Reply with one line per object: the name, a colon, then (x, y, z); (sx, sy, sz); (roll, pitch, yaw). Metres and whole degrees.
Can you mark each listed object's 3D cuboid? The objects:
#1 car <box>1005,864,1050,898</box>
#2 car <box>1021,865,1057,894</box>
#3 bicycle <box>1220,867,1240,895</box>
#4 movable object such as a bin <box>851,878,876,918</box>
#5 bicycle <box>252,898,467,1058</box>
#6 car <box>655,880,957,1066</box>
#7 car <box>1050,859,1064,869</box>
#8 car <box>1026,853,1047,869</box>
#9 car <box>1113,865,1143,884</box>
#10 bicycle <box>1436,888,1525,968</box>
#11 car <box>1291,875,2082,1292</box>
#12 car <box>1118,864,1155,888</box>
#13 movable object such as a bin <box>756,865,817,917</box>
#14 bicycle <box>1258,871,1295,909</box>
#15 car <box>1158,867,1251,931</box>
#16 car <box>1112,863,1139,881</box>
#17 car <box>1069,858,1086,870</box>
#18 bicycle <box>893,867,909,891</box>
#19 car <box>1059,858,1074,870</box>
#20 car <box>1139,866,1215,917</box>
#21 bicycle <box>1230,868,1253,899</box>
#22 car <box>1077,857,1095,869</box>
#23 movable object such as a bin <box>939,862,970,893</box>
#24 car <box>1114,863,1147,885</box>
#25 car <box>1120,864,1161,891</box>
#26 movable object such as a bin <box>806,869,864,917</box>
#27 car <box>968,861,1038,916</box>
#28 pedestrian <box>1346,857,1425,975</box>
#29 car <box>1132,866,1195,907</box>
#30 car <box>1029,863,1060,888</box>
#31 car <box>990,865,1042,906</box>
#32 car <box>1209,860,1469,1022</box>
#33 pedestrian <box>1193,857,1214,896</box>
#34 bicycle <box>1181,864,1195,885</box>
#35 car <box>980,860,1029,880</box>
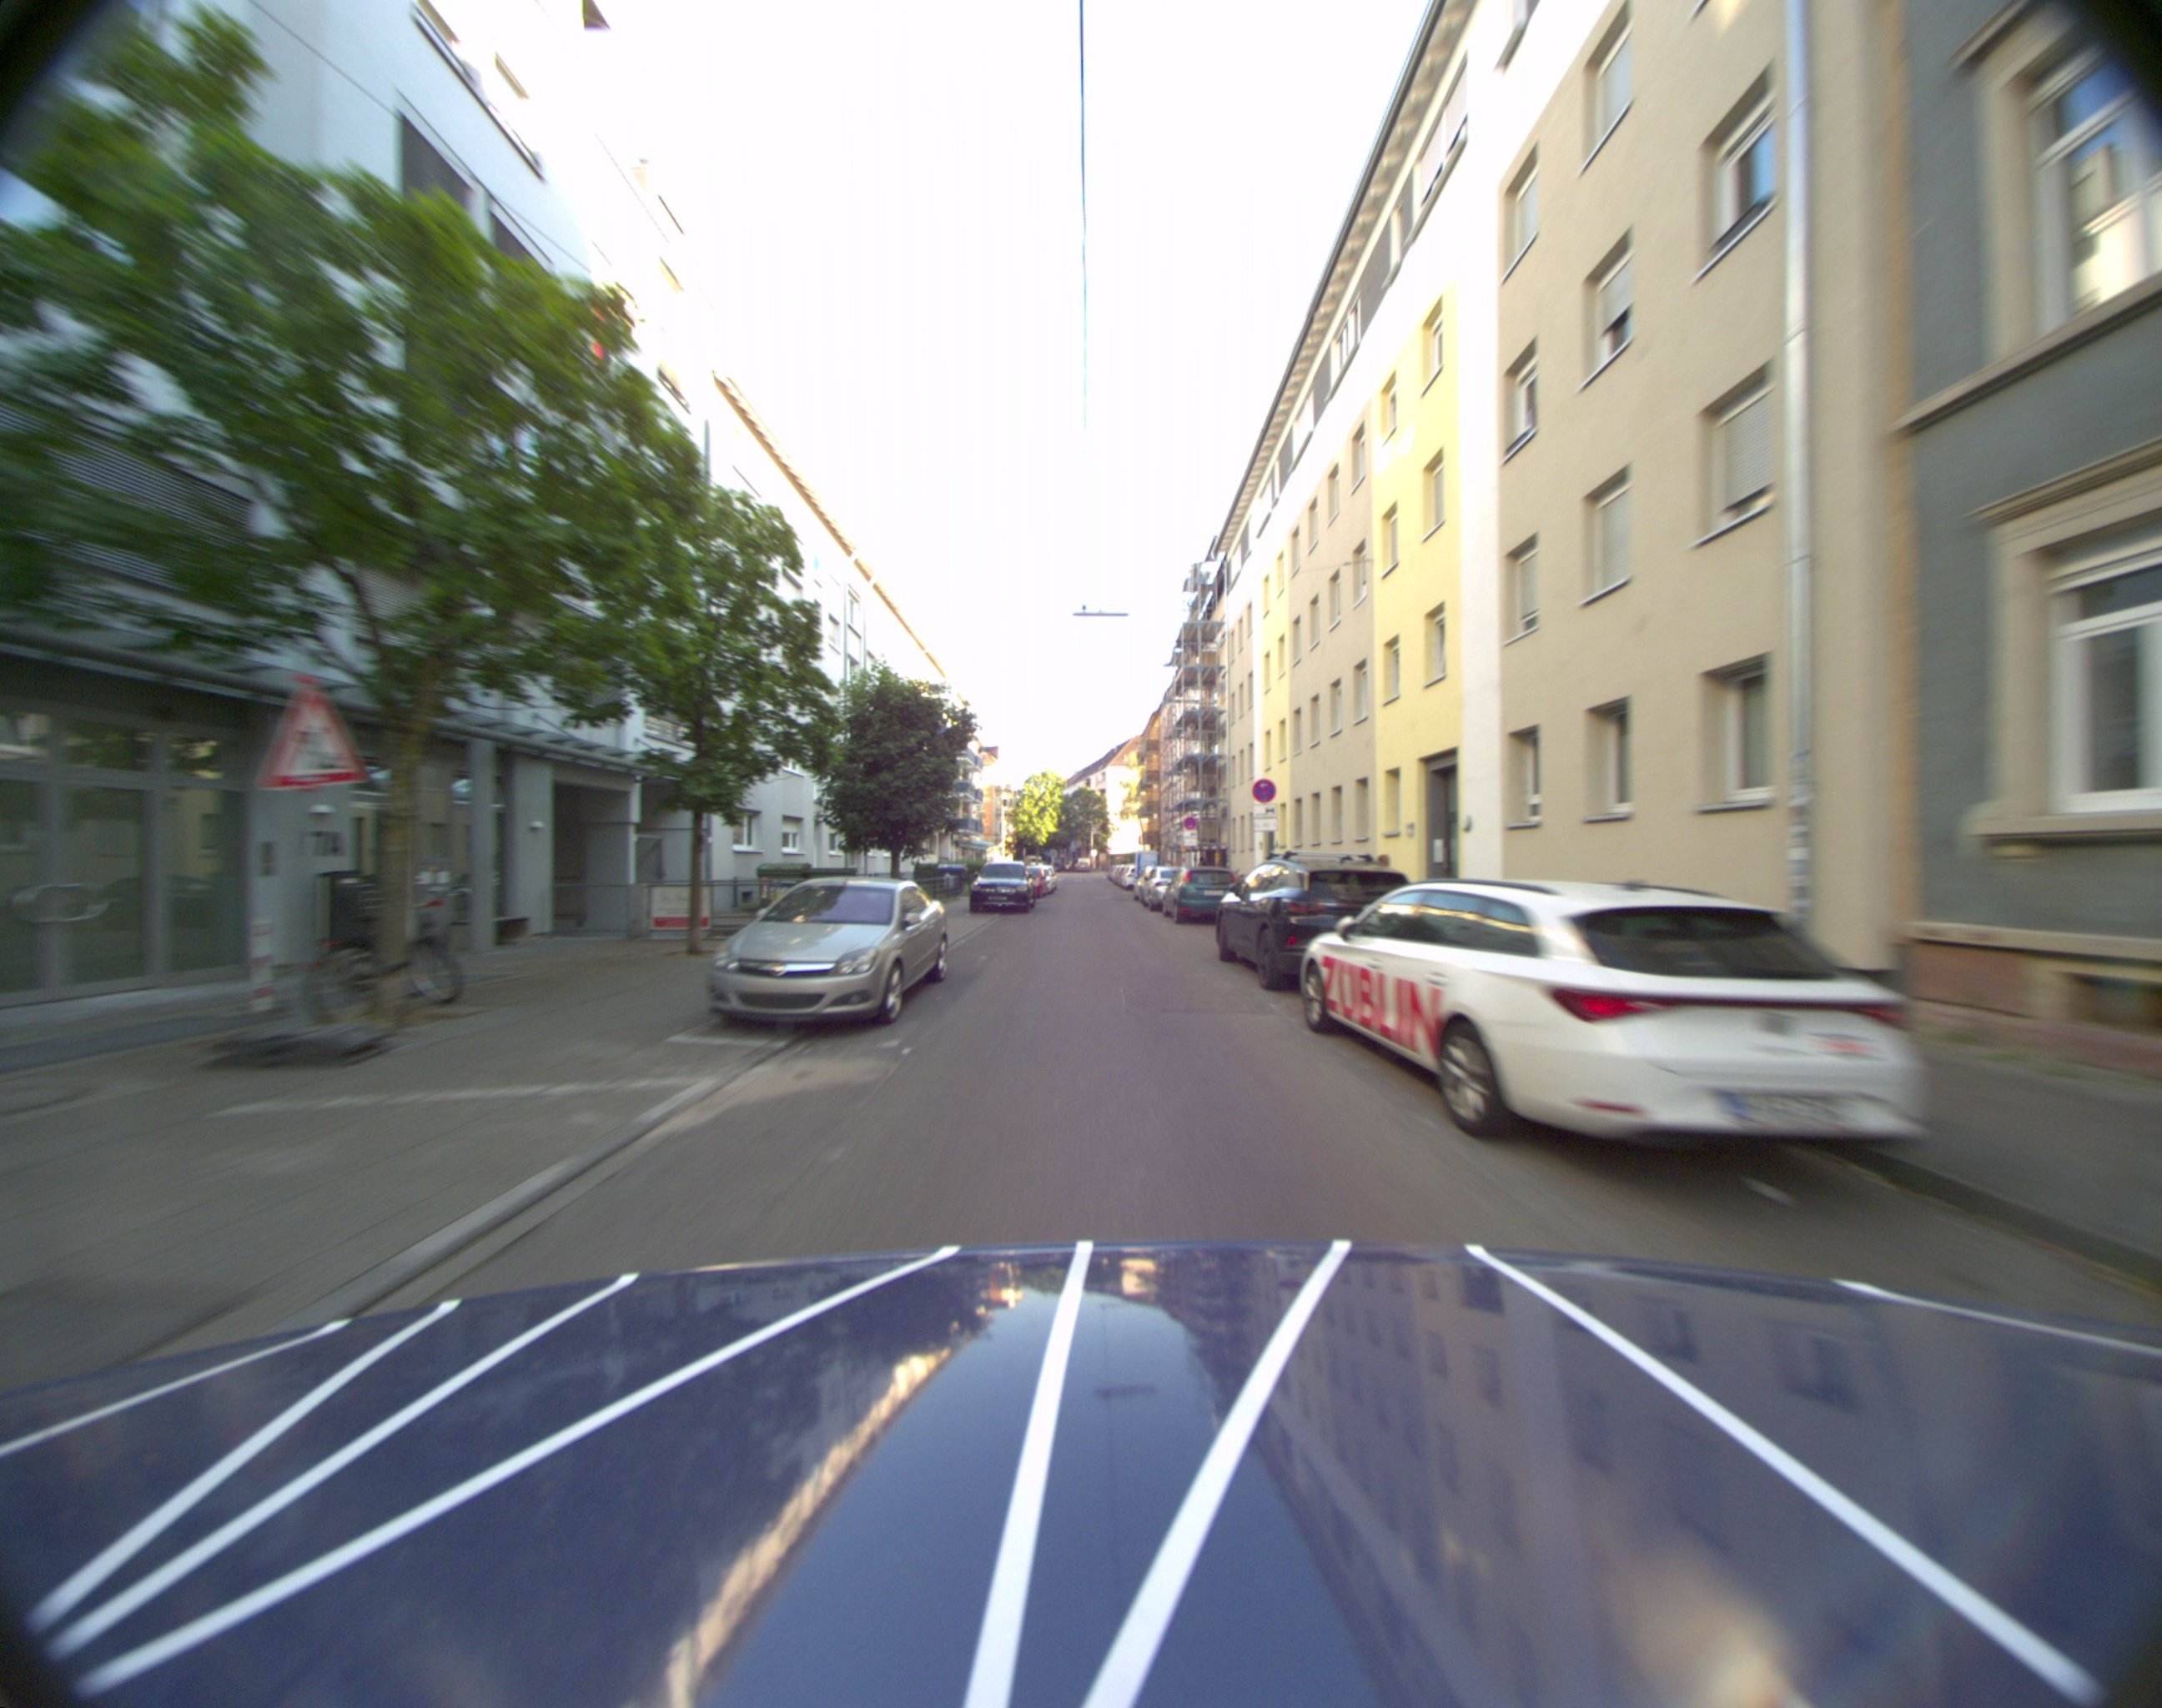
car: (-2.472, 1.230, 35.903); (1.680, 1.474, 3.653); (1, 0, 3)
car: (-2.208, 1.318, 40.842); (1.680, 1.411, 4.136); (1, 0, 1)
bicycle: (6.510, 1.165, 33.265); (0.405, 1.161, 1.816); (-3, 0, -2)
movable object such as a bin: (-6.112, 1.229, 21.372); (0.529, 1.065, 0.625); (1, 0, 0)
bicycle: (-6.405, 1.033, 6.879); (0.522, 1.161, 1.739); (1, 0, -10)
car: (-2.683, 1.078, 8.599); (1.768, 1.420, 4.345); (1, 0, 1)
car: (-3.616, 1.535, 115.736); (1.829, 1.496, 3.998); (1, 0, -6)
car: (-6.859, 1.072, 116.987); (2.163, 2.269, 6.201); (1, 0, -13)
car: (3.727, 1.594, 60.849); (1.999, 1.423, 4.000); (1, 0, -1)
bicycle: (6.117, 1.094, 11.727); (0.451, 1.068, 1.752); (-1, 0, 1)
car: (3.013, 0.978, 5.163); (1.925, 1.550, 4.267); (2, -1, 0)
car: (3.610, 1.416, 50.111); (1.999, 1.439, 4.000); (1, 0, -1)
movable object such as a bin: (-8.323, 1.026, 21.530); (1.264, 1.428, 1.139); (1, 0, 0)
bicycle: (6.311, 1.140, 24.578); (0.611, 1.161, 1.924); (1, 0, -2)
car: (3.216, 1.123, 20.607); (1.783, 1.479, 4.421); (1, 0, 0)
car: (3.764, 1.498, 65.519); (1.999, 1.423, 4.000); (1, 0, -1)
car: (-0.592, 1.463, 113.939); (2.081, 1.760, 4.216); (1, 0, -6)
bicycle: (-8.516, 1.158, 36.014); (0.602, 1.084, 1.739); (1, 0, -10)
car: (-2.412, 1.601, 124.202); (2.081, 1.760, 4.215); (1, 0, -7)
car: (3.109, 1.168, 25.465); (1.927, 1.479, 4.617); (1, 0, 0)
bicycle: (6.449, 1.175, 30.599); (0.479, 1.161, 1.732); (-3, 0, -2)
car: (0.732, 1.270, 108.179); (2.081, 1.760, 4.216); (1, 0, -6)
movable object such as a bin: (-6.007, 1.118, 36.153); (1.287, 1.428, 1.223); (1, 0, 0)
car: (3.568, 1.424, 55.427); (1.999, 1.423, 4.000); (1, 0, -1)
car: (3.506, 1.363, 45.283); (1.999, 1.495, 4.000); (1, 0, -1)
movable object such as a bin: (-7.015, 1.090, 21.718); (1.264, 1.313, 1.139); (1, 0, 0)
car: (-2.493, 1.065, 25.352); (1.876, 1.626, 4.722); (1, 0, -1)
pedestrian: (4.828, 0.947, 12.109); (0.791, 1.780, 1.092); (1, 0, 1)
car: (3.243, 1.259, 30.833); (1.927, 1.479, 4.617); (1, 0, -1)
car: (-2.216, 1.306, 47.033); (1.680, 1.411, 4.136); (1, 0, 0)
car: (-2.516, 1.193, 30.207); (1.680, 1.474, 3.652); (1, 0, 1)
car: (3.094, 0.951, 10.231); (1.925, 1.653, 4.469); (2, -1, 0)
pedestrian: (5.649, 1.015, 35.056); (0.791, 1.750, 1.092); (1, 0, 1)
bicycle: (6.665, 1.264, 47.143); (0.490, 1.161, 1.684); (-3, 0, 19)
car: (-6.443, 1.358, 64.516); (3.998, 1.556, 2.000); (1, 0, -2)
